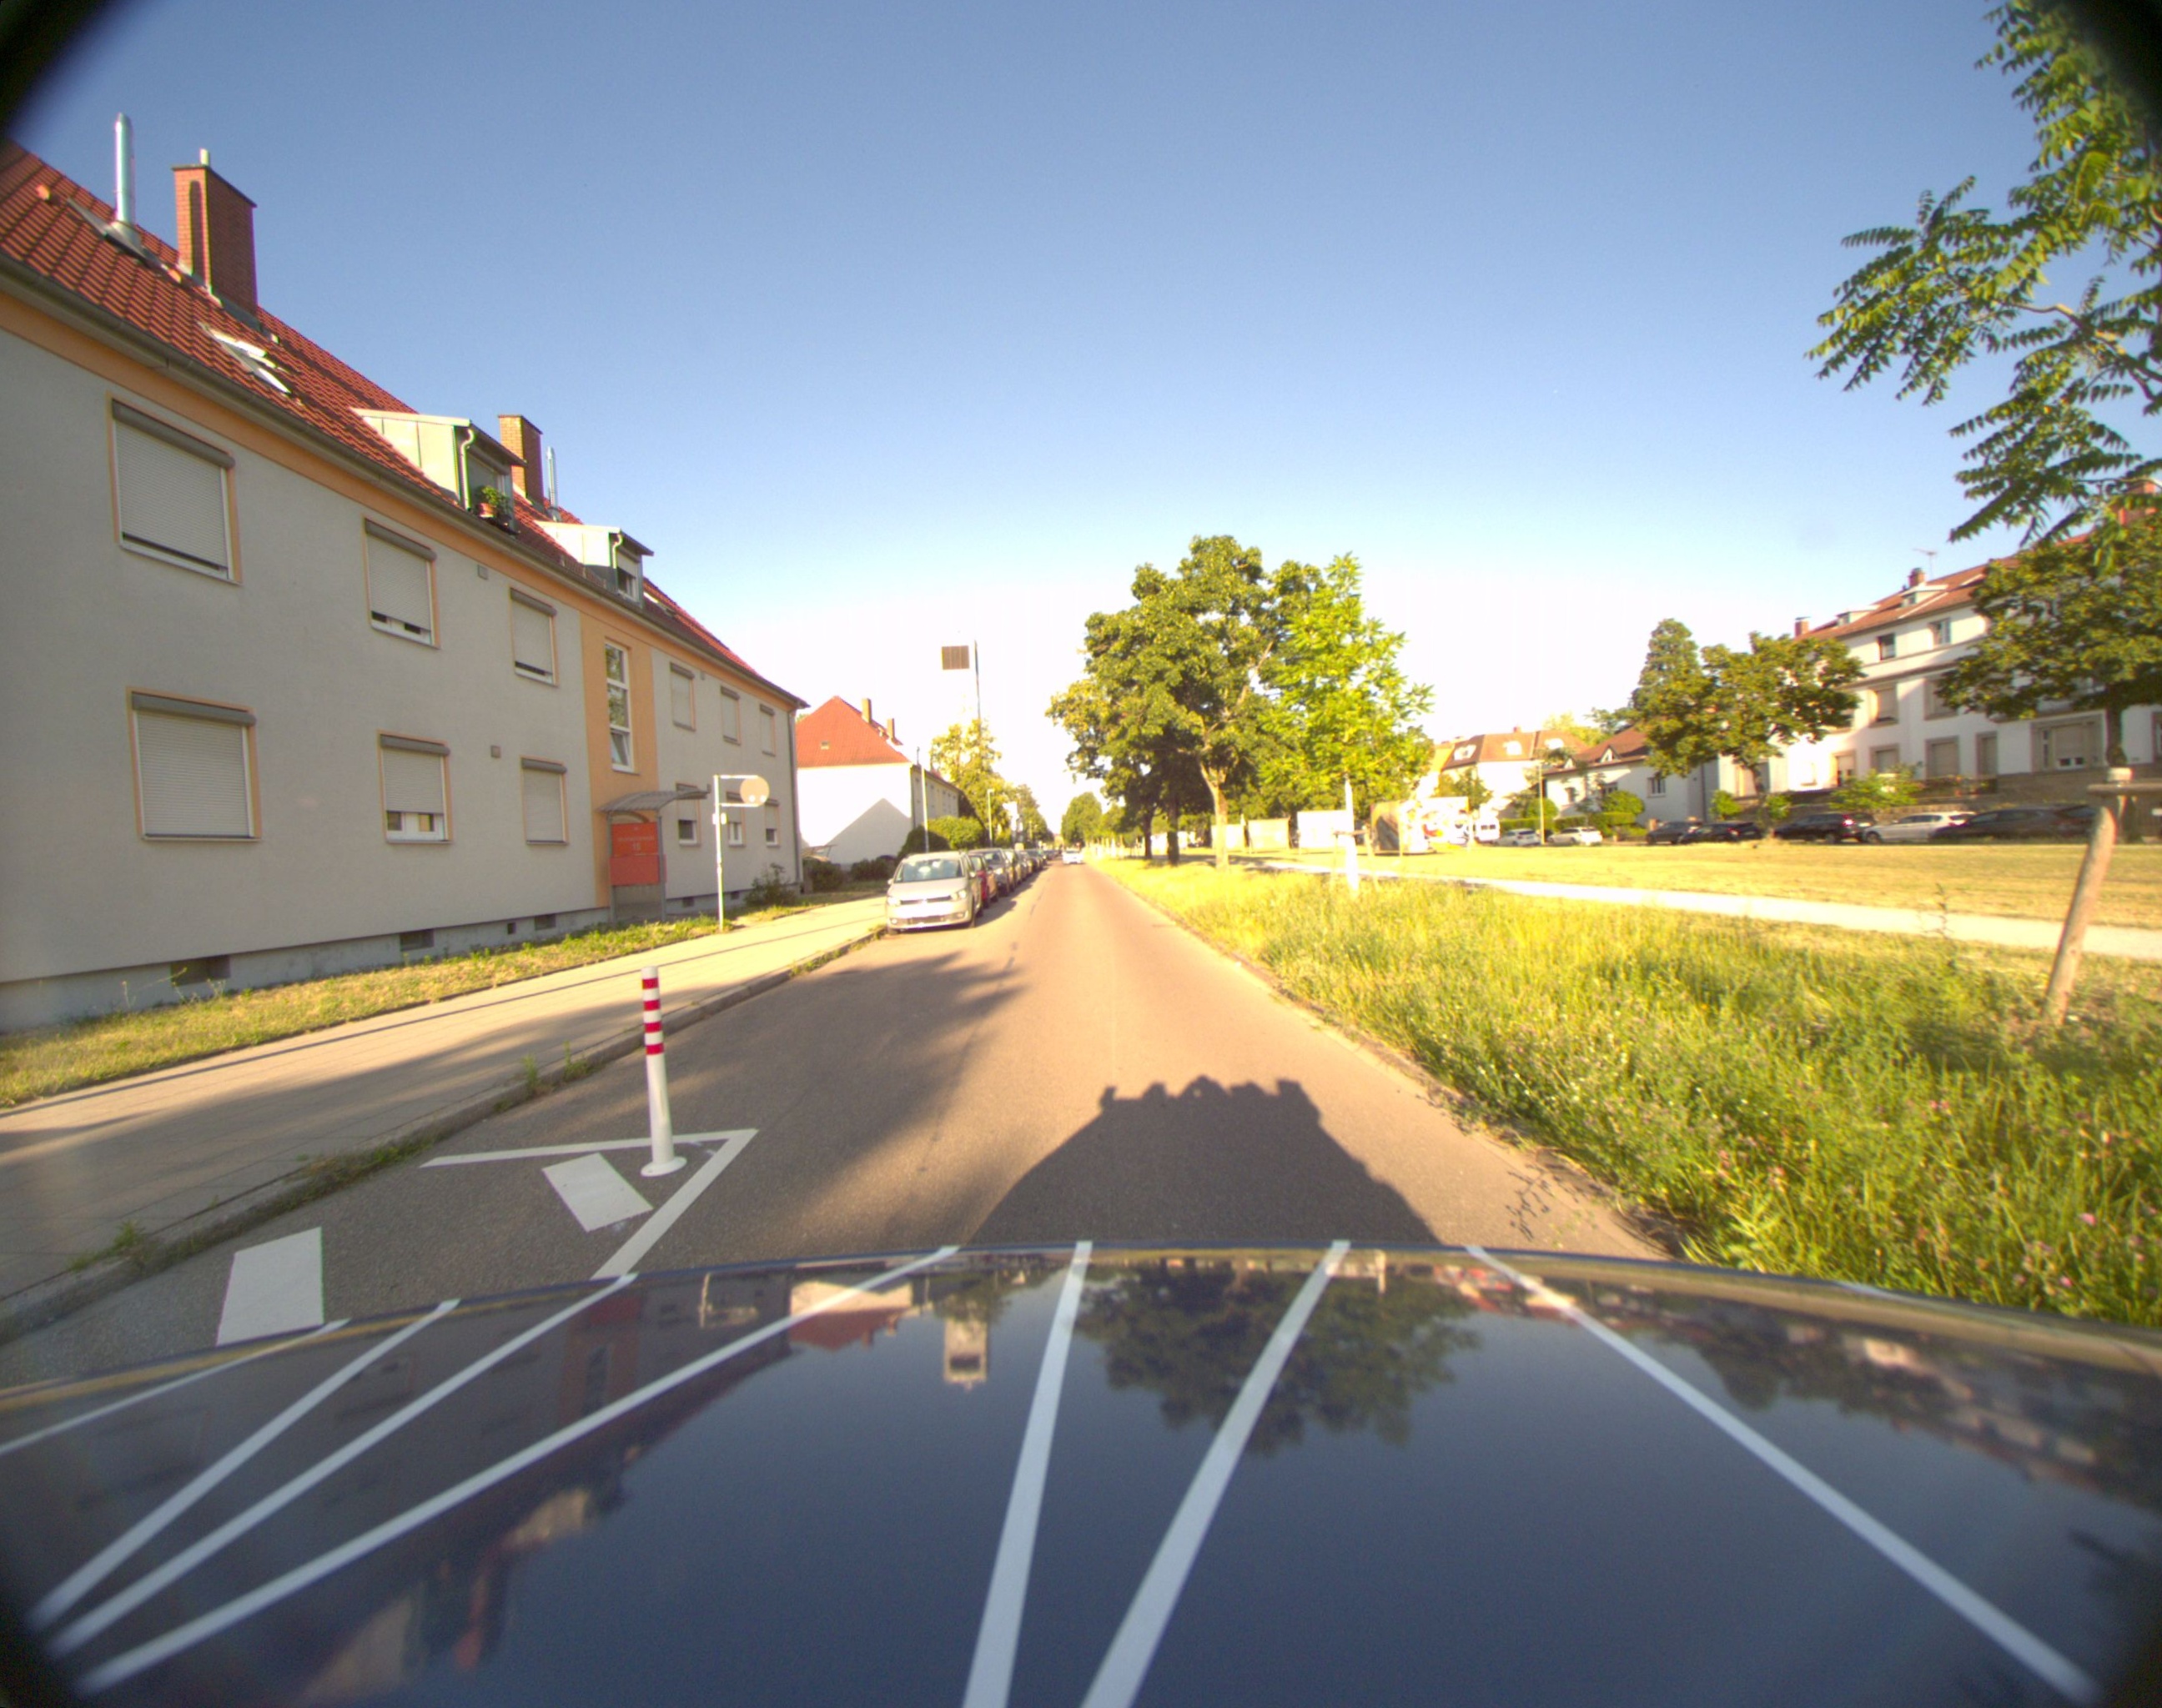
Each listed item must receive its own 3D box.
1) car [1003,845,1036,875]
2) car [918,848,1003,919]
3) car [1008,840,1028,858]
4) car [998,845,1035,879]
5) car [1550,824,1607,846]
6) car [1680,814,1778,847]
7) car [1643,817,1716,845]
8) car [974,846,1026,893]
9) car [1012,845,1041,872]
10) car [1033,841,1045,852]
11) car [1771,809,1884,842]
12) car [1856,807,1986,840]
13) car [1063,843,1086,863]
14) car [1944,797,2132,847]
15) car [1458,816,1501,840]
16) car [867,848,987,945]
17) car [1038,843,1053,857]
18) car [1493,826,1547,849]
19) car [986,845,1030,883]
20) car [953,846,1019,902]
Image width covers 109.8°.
[{"bbox_3d":[-3.905,0.371,48.663,1.850,1.686,3.998,-4,1,-3],"label":"car"},{"bbox_3d":[-3.326,0.740,21.703,1.850,1.686,3.998,-4,1,-3],"label":"car"},{"bbox_3d":[-6.572,-0.513,79.644,1.850,1.686,3.998,-4,1,-3],"label":"car"},{"bbox_3d":[-3.637,0.429,43.346,1.850,1.686,3.998,-4,1,-3],"label":"car"},{"bbox_3d":[39.122,-1.467,59.875,1.825,1.571,3.966,-3,1,-1],"label":"car"},{"bbox_3d":[33.815,-1.187,39.811,1.825,1.571,3.835,-3,1,-1],"label":"car"},{"bbox_3d":[39.243,-1.486,49.957,1.642,1.652,3.999,-3,1,1],"label":"car"},{"bbox_3d":[-3.338,0.582,31.971,1.850,1.686,3.998,-4,1,-3],"label":"car"},{"bbox_3d":[-3.802,0.298,53.664,1.850,1.686,3.998,-4,1,-3],"label":"car"},{"bbox_3d":[-6.971,-1.189,125.255,1.850,1.686,3.998,-4,1,-3],"label":"car"},{"bbox_3d":[39.550,-1.473,40.407,1.825,1.571,4.161,-3,1,-1],"label":"car"},{"bbox_3d":[39.621,-1.399,35.997,1.641,1.438,4.007,-2,1,-2],"label":"car"},{"bbox_3d":[-0.664,-0.129,72.465,1.870,1.686,4.299,-4,1,-3],"label":"car"},{"bbox_3d":[33.714,-1.076,26.953,1.825,1.571,3.835,-3,1,-1],"label":"car"},{"bbox_3d":[38.724,-2.516,73.912,1.998,2.201,4.131,-3,1,2],"label":"car"},{"bbox_3d":[-3.186,0.804,16.541,1.850,1.686,3.998,-4,1,-3],"label":"car"},{"bbox_3d":[-4.683,-0.536,99.348,1.850,1.686,3.998,-4,1,-3],"label":"car"},{"bbox_3d":[33.438,-1.253,58.040,1.825,1.571,3.835,-3,1,-1],"label":"car"},{"bbox_3d":[-3.611,0.452,38.218,1.850,1.686,3.998,-4,1,-3],"label":"car"},{"bbox_3d":[-3.250,0.629,26.690,1.850,1.686,3.998,-4,1,-3],"label":"car"}]
